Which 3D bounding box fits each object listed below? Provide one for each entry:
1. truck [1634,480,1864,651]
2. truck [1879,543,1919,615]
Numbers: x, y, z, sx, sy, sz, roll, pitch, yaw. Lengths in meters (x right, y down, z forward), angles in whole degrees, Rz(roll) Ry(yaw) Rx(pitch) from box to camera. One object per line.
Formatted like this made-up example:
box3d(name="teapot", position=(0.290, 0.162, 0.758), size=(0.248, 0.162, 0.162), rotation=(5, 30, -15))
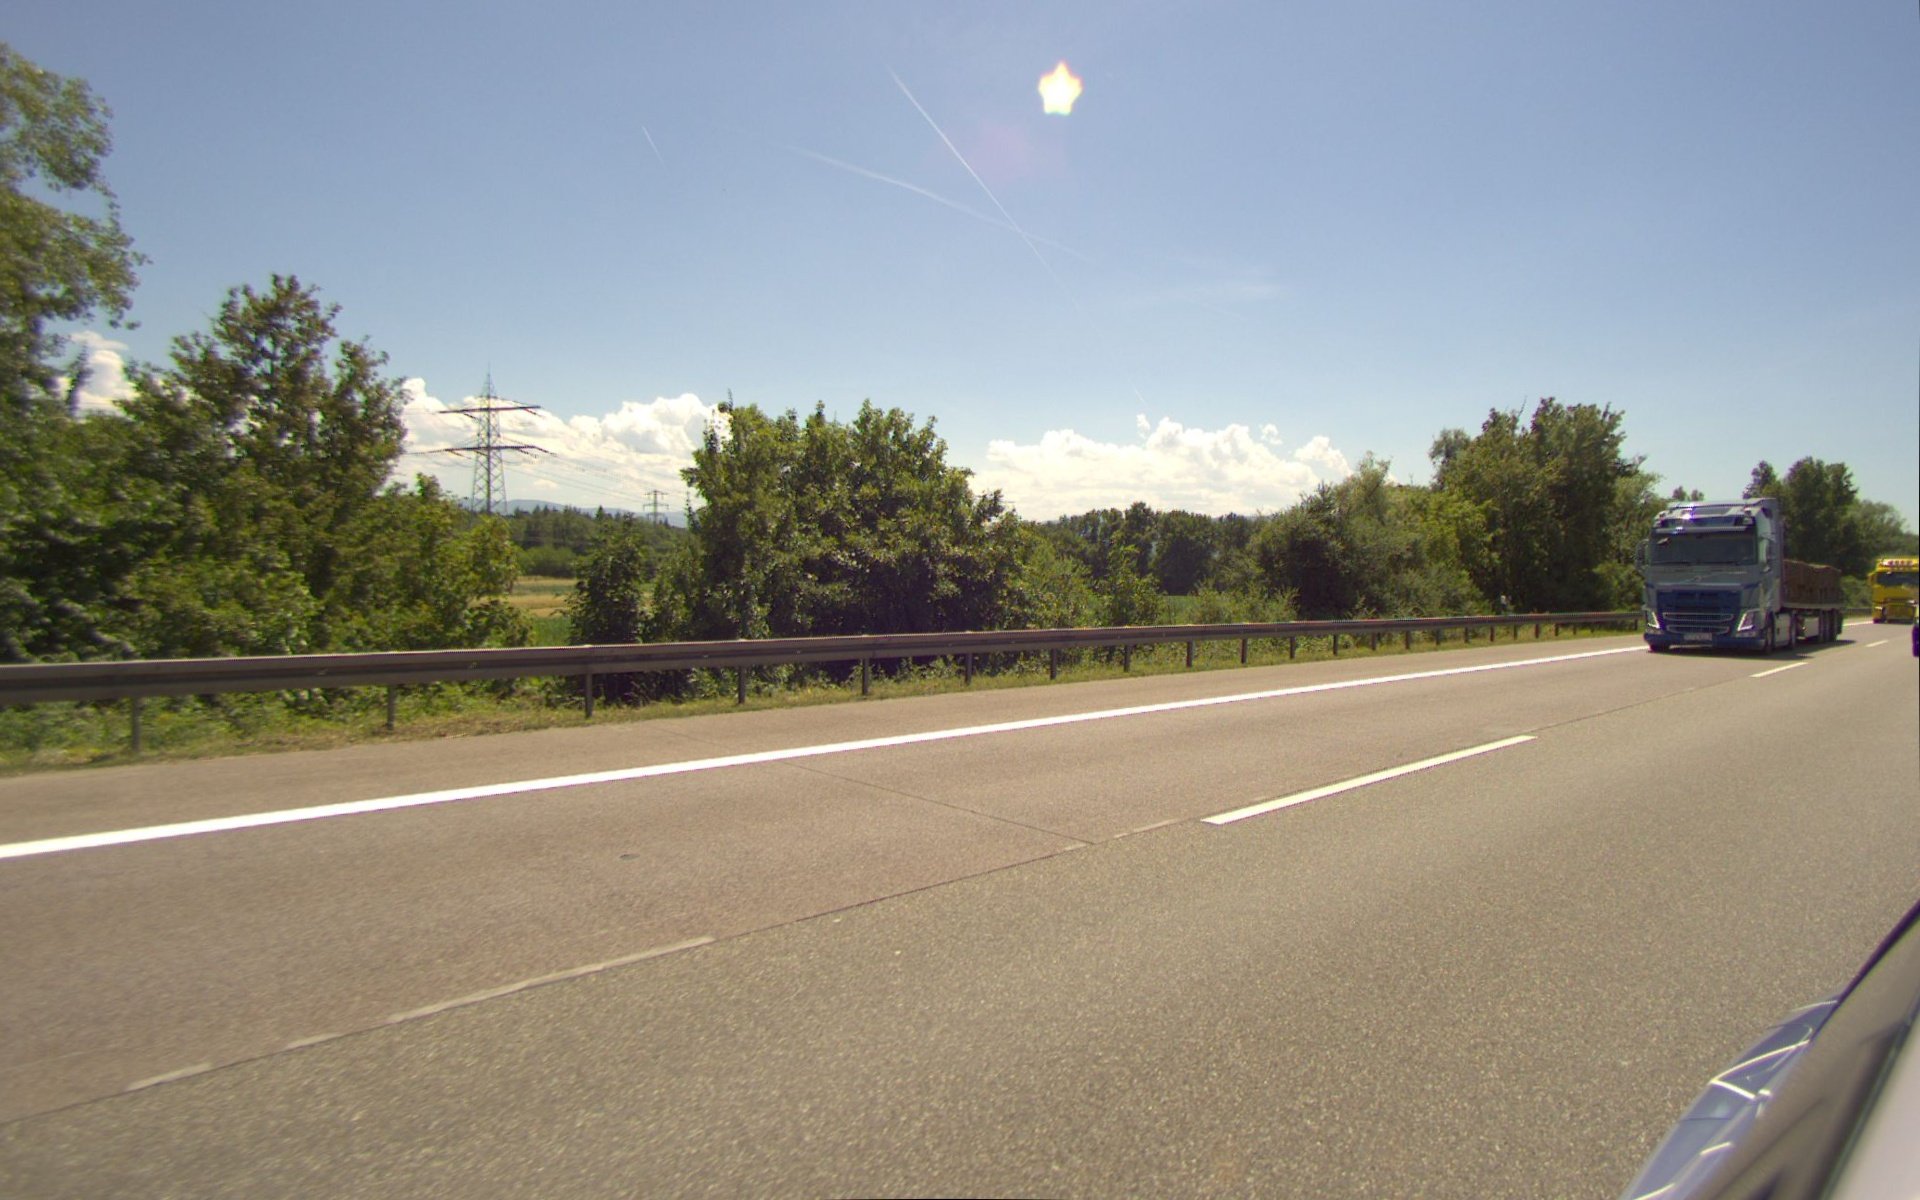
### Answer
box3d(name="truck", position=(24.237, -0.896, 30.436), size=(16.334, 4.007, 2.973), rotation=(-1, 1, -43))
box3d(name="truck", position=(62.719, -1.330, 65.906), size=(16.509, 4.310, 2.849), rotation=(-1, 2, -43))
